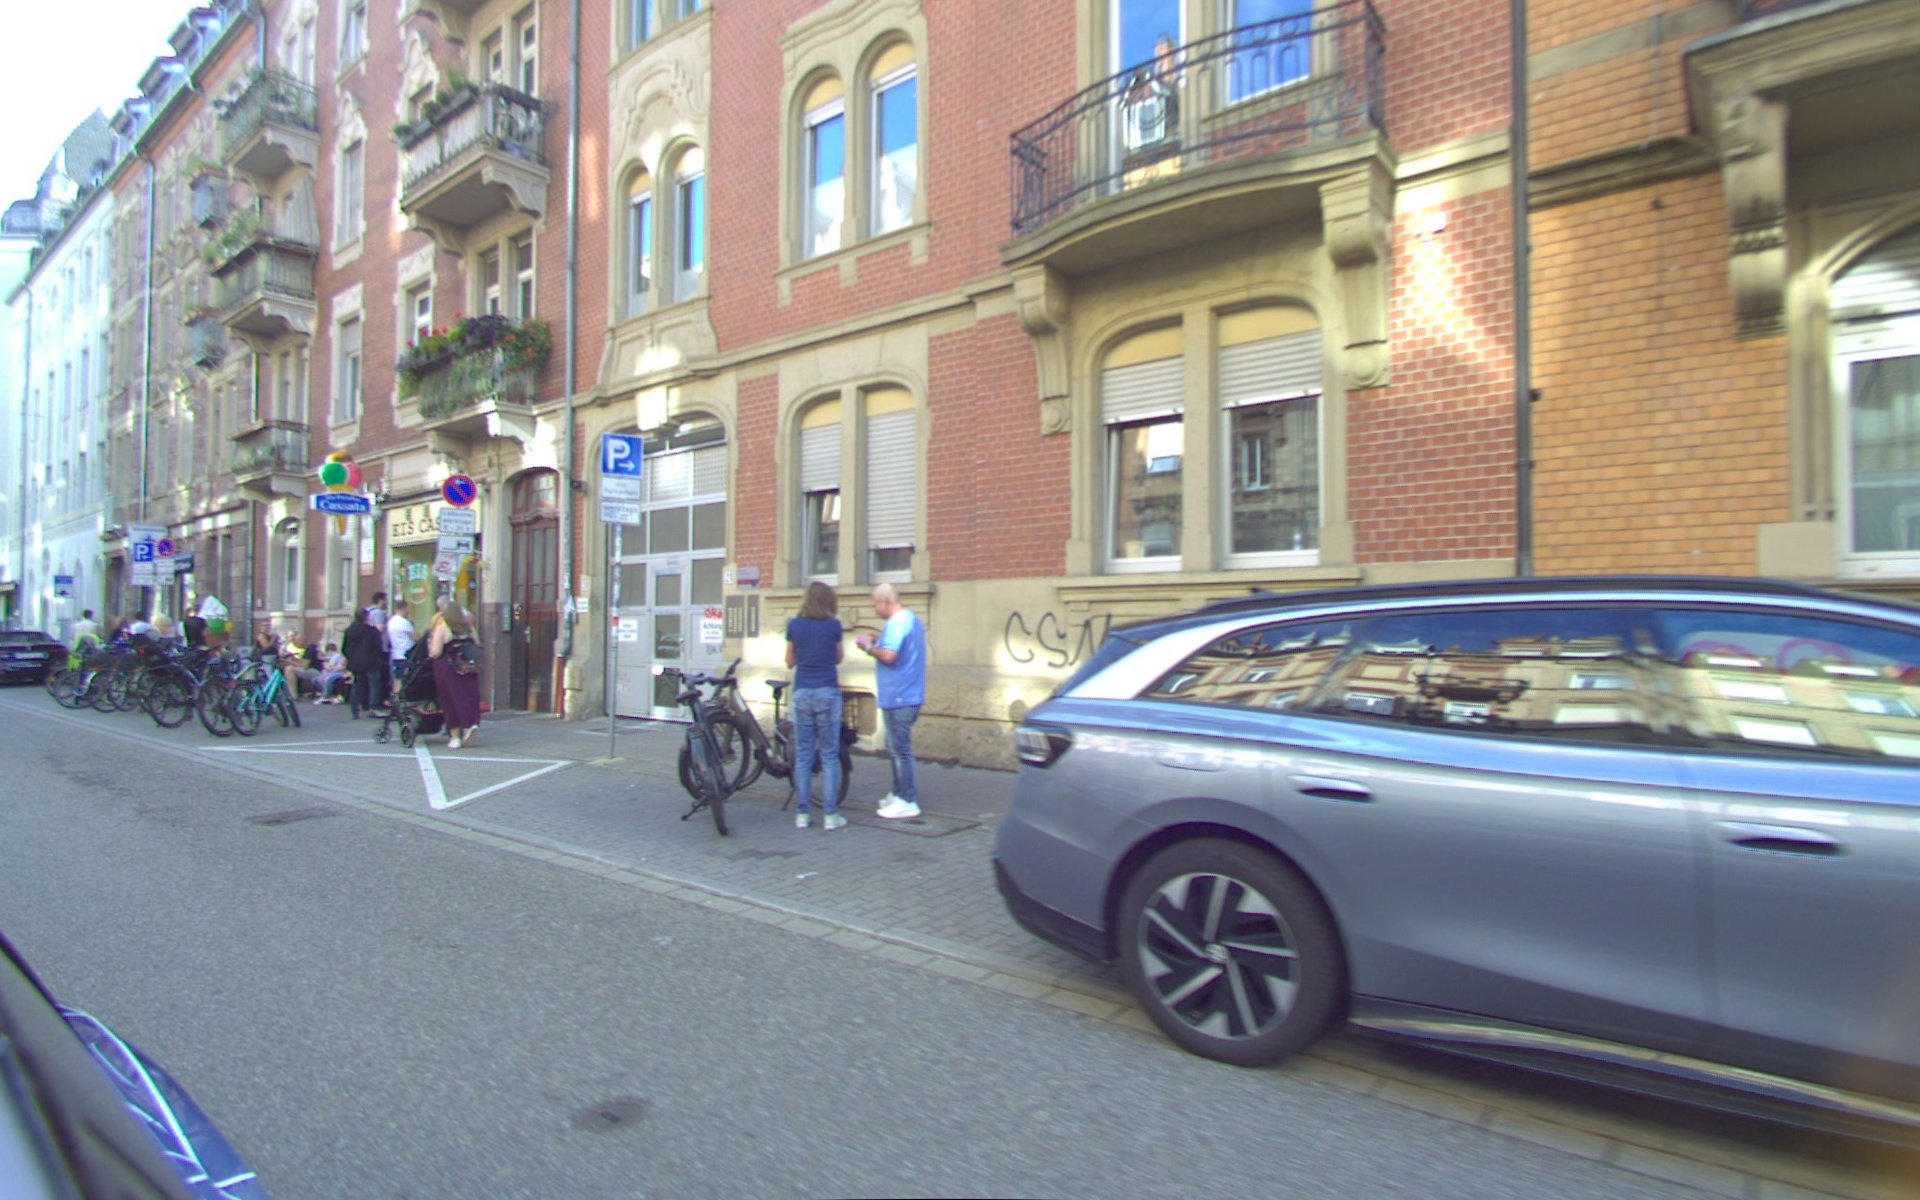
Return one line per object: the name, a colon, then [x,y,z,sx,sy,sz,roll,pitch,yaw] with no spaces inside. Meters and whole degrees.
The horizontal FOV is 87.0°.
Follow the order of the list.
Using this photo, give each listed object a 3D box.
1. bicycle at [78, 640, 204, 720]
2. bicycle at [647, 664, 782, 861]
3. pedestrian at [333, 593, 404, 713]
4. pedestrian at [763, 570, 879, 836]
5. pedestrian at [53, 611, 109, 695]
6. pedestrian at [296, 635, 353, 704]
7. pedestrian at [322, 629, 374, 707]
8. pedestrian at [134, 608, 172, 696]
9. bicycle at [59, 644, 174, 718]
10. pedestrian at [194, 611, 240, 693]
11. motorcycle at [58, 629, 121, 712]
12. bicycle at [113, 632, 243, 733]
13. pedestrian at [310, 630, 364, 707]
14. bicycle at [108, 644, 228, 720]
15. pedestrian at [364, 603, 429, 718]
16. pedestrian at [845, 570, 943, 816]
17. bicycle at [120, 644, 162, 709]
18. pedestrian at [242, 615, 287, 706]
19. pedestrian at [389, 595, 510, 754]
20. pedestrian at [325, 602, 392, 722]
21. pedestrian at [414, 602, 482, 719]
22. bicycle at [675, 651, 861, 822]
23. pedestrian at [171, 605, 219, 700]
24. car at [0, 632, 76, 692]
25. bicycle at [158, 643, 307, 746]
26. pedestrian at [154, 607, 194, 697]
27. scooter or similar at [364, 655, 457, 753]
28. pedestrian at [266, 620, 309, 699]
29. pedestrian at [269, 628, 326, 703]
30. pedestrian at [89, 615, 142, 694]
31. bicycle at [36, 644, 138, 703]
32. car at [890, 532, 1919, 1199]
bicycle: [-13.571,1.294,16.837,0.583,1.209,1.789,-1,-1,3]
bicycle: [-1.761,1.038,7.047,0.475,1.067,1.910,-1,0,-27]
pedestrian: [-9.509,0.840,16.299,0.658,1.868,0.761,-1,-1,8]
pedestrian: [-0.929,0.676,6.881,0.659,1.722,0.565,-1,-1,4]
pedestrian: [-19.555,1.164,22.524,0.750,1.832,0.668,-1,-1,-21]
pedestrian: [-11.445,1.238,18.228,0.585,1.206,0.702,-2,-1,35]
pedestrian: [-10.689,1.174,17.684,0.372,1.323,0.695,-2,-1,35]
pedestrian: [-16.555,1.053,20.777,0.597,1.765,0.947,0,-1,-38]
bicycle: [-14.179,1.340,17.060,0.583,1.129,1.569,-1,-1,3]
pedestrian: [-16.458,1.140,22.432,0.678,1.773,0.668,-1,-1,-21]
motorcycle: [-15.661,1.227,18.252,0.698,1.395,2.028,0,-1,-36]
bicycle: [-11.255,1.154,14.633,0.521,1.332,1.675,-1,-1,3]
pedestrian: [-11.024,1.202,17.922,0.438,1.323,0.711,-2,-1,35]
bicycle: [-12.973,1.317,16.642,0.548,1.129,1.736,-1,-1,3]
pedestrian: [-8.581,0.912,15.437,0.579,1.709,0.664,-1,-1,9]
pedestrian: [-0.462,0.639,7.254,0.545,1.674,0.680,-1,-1,9]
bicycle: [-15.065,1.386,18.637,0.570,1.098,1.742,0,-1,-38]
pedestrian: [-12.767,1.101,18.585,0.583,1.629,0.547,-2,-1,39]
pedestrian: [-5.671,0.790,11.262,0.825,1.674,0.904,-2,-1,31]
pedestrian: [-8.845,0.899,14.890,0.638,1.709,0.565,-1,-1,3]
pedestrian: [-7.740,0.888,15.303,0.762,1.709,0.657,-2,-1,39]
bicycle: [-1.537,0.982,7.834,0.487,1.103,1.907,-1,0,-42]
pedestrian: [-15.787,1.075,20.890,0.637,1.906,0.603,-1,-1,-21]
car: [-23.859,1.498,25.268,5.108,1.361,1.794,-2,-2,39]
bicycle: [-9.482,1.184,13.316,0.795,1.167,2.276,-1,-1,-14]
pedestrian: [-15.846,1.039,20.394,0.597,1.765,0.726,0,-2,-40]
scooter or similar: [-6.407,1.185,11.804,0.920,1.063,0.600,-2,-1,34]
pedestrian: [-12.858,1.119,19.343,0.597,1.481,0.726,0,-1,-40]
pedestrian: [-12.100,1.183,18.494,0.605,1.323,0.716,-2,-1,36]
pedestrian: [-19.425,1.238,23.292,0.750,1.773,0.668,-1,-1,-21]
bicycle: [-17.405,1.459,20.198,1.555,1.125,0.375,-1,-1,-12]
car: [2.381,0.656,3.112,5.253,1.590,1.809,-1,-1,36]
